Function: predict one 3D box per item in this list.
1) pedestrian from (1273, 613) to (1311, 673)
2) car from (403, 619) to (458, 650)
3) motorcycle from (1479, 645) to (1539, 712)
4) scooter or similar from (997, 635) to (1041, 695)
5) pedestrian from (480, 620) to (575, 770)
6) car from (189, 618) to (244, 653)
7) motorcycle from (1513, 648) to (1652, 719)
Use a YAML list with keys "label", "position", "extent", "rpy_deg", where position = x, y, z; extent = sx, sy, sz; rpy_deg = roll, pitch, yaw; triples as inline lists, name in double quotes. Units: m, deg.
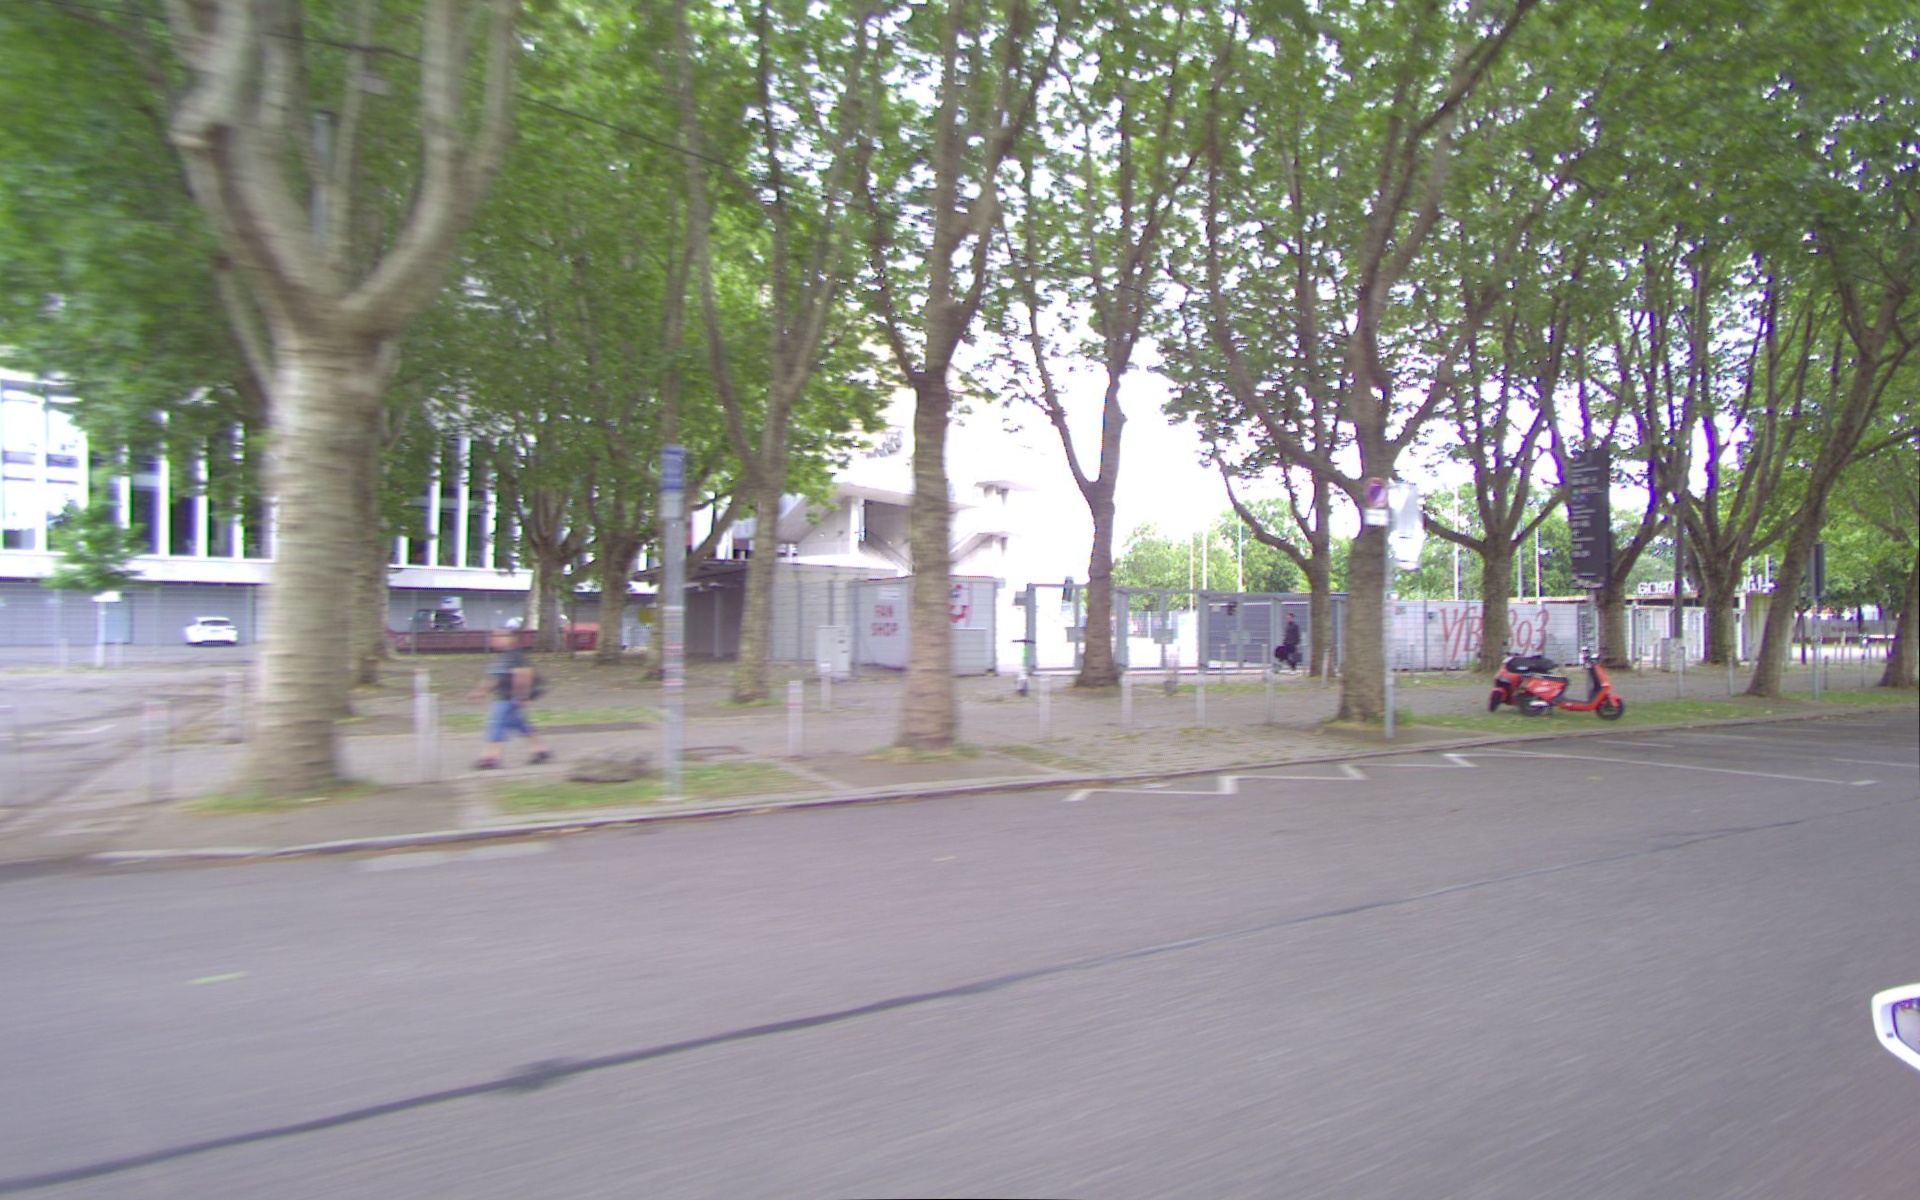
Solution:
- label: "pedestrian"
  position: [10.032, 1.300, 30.366]
  extent: [0.864, 1.777, 0.700]
  rpy_deg: [1, 0, -30]
- label: "car"
  position: [-29.736, 1.926, 56.365]
  extent: [1.984, 1.684, 3.954]
  rpy_deg: [1, -2, -40]
- label: "motorcycle"
  position: [10.533, 1.480, 19.247]
  extent: [0.567, 1.173, 2.066]
  rpy_deg: [1, -1, 41]
- label: "scooter or similar"
  position: [1.245, 1.368, 21.380]
  extent: [0.439, 1.188, 1.179]
  rpy_deg: [1, 0, -24]
- label: "pedestrian"
  position: [-4.920, 1.047, 11.414]
  extent: [0.902, 1.610, 0.658]
  rpy_deg: [1, 0, -30]
- label: "car"
  position: [-37.217, 1.750, 50.263]
  extent: [1.984, 1.684, 3.954]
  rpy_deg: [1, -2, -40]
- label: "motorcycle"
  position: [11.189, 1.484, 18.115]
  extent: [2.035, 1.173, 0.575]
  rpy_deg: [1, 0, 14]
